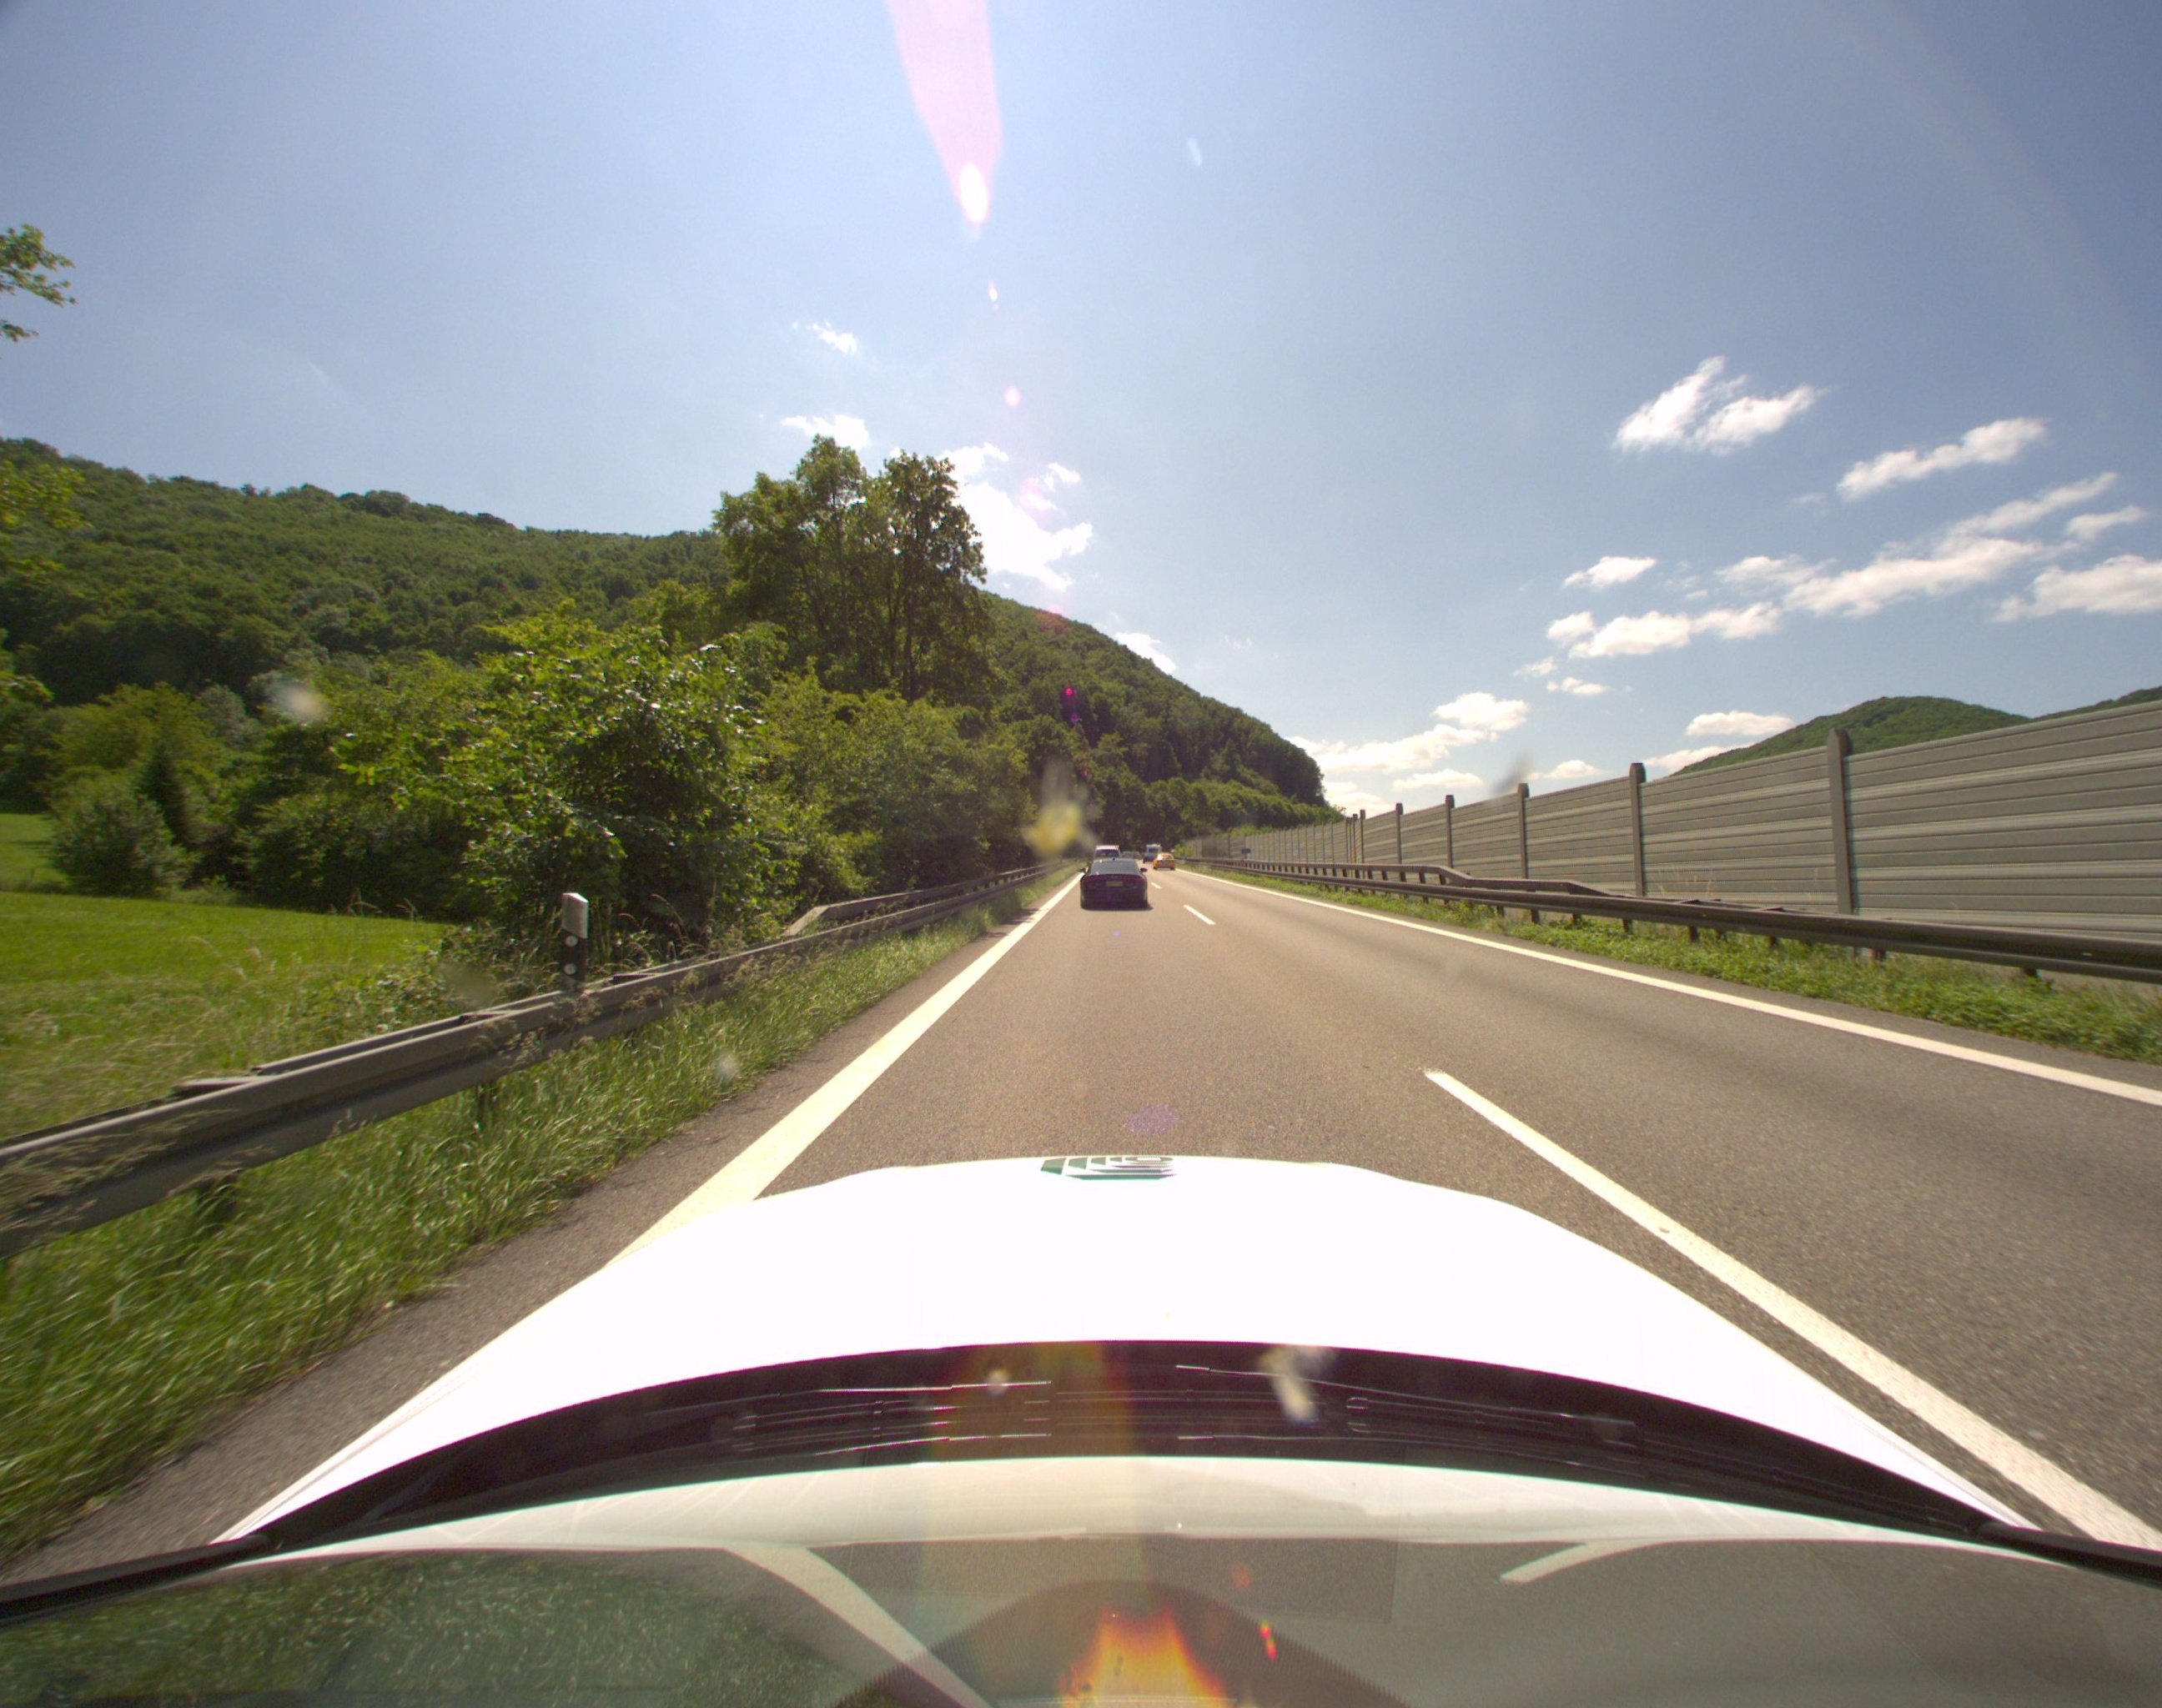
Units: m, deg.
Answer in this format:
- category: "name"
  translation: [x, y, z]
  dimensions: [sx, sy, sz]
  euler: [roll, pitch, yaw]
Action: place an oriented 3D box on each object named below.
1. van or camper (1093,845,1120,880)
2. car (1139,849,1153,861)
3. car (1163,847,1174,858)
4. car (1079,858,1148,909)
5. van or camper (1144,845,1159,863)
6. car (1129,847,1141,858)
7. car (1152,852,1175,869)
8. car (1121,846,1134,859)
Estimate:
- category: "van or camper"
  translation: [1.372, 0.467, 44.235]
  dimensions: [1.386, 1.816, 4.002]
  euler: [0, 0, 2]
- category: "car"
  translation: [9.001, 0.119, 112.576]
  dimensions: [1.767, 1.637, 4.001]
  euler: [0, 0, 2]
- category: "car"
  translation: [17.809, -0.302, 165.601]
  dimensions: [1.980, 2.014, 4.013]
  euler: [-1, 0, 12]
- category: "car"
  translation: [0.952, 0.806, 23.809]
  dimensions: [1.830, 1.349, 4.002]
  euler: [-1, 0, 2]
- category: "van or camper"
  translation: [11.776, 0.004, 136.082]
  dimensions: [2.444, 2.918, 6.132]
  euler: [0, 0, 4]
- category: "car"
  translation: [9.772, -0.228, 146.170]
  dimensions: [1.983, 2.014, 4.007]
  euler: [0, 0, 6]
- category: "car"
  translation: [7.412, 0.543, 73.240]
  dimensions: [1.855, 1.488, 4.003]
  euler: [0, 0, 3]
- category: "car"
  translation: [7.452, -0.288, 129.984]
  dimensions: [1.986, 2.014, 4.001]
  euler: [0, 0, 2]
